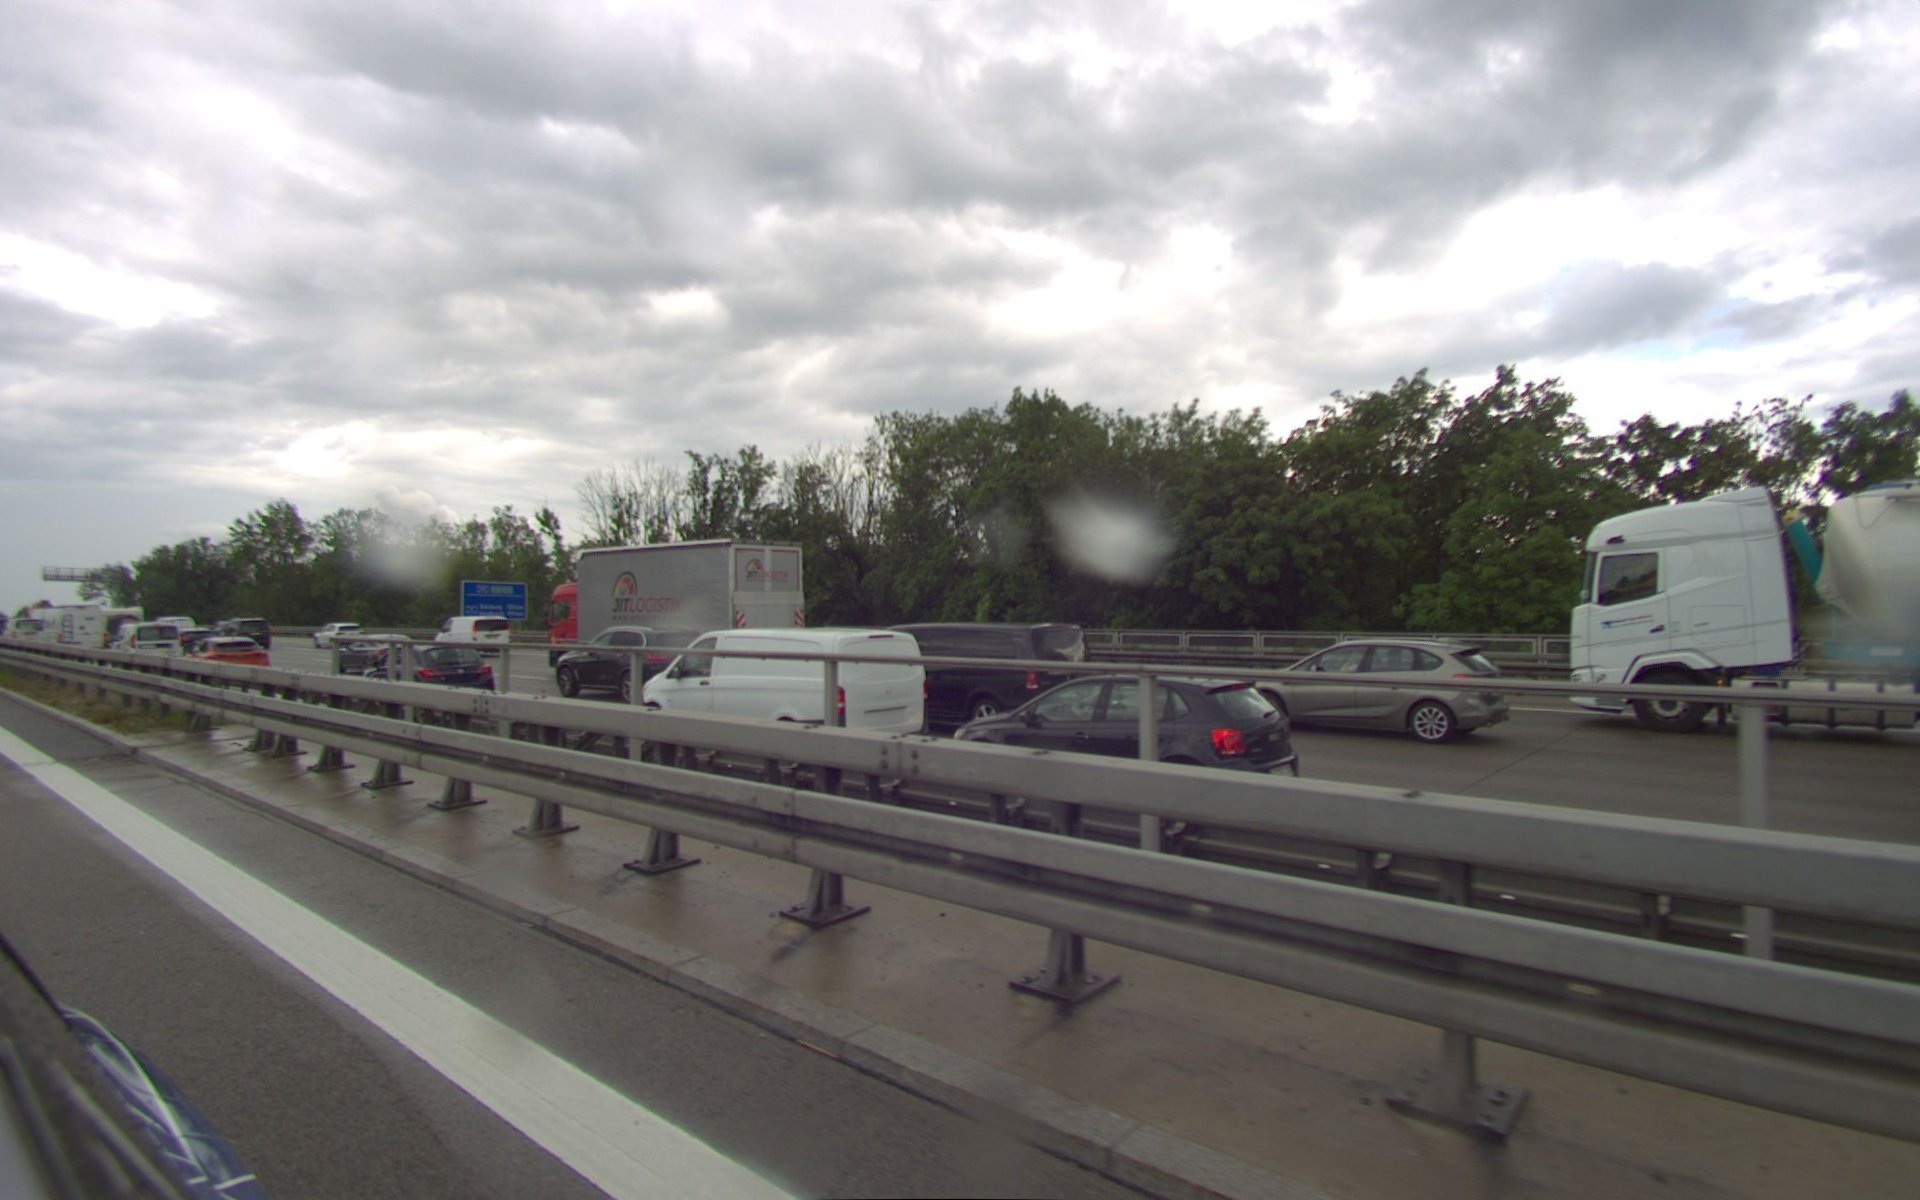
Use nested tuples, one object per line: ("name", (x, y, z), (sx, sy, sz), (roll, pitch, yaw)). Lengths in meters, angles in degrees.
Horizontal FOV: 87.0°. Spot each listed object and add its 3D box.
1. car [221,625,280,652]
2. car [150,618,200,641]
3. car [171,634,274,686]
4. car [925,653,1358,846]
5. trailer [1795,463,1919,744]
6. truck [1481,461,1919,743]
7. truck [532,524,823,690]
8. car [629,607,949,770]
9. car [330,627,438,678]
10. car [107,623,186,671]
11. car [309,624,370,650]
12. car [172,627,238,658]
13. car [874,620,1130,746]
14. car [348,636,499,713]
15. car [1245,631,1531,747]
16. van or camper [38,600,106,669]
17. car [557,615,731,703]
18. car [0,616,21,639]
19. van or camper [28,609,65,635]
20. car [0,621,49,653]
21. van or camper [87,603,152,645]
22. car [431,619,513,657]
("car", (-42.451, 2.286, 60.513), (3.998, 1.524, 1.999), (-1, -2, 41))
("car", (-54.459, 2.012, 70.167), (3.998, 1.524, 1.999), (-1, -2, 41))
("car", (-23.409, 1.852, 32.091), (4.032, 1.484, 1.735), (-1, -2, 40))
("car", (1.739, 1.375, 10.610), (4.223, 1.500, 1.662), (-1, -2, 40))
("trailer", (18.357, -0.011, 11.791), (13.213, 3.988, 2.436), (-1, -2, 41))
("truck", (12.745, 0.080, 16.716), (6.979, 3.995, 2.436), (-1, -2, 41))
("truck", (-9.014, 0.282, 31.128), (10.863, 4.325, 3.224), (-1, -2, 41))
("car", (-2.643, 1.132, 14.794), (5.034, 2.001, 1.835), (-1, -2, 40))
("car", (-19.964, 1.759, 34.988), (4.419, 1.628, 1.907), (-1, -2, 41))
("car", (-33.531, 1.876, 41.674), (4.032, 1.856, 1.803), (-1, -2, 40))
("car", (-36.994, 2.177, 60.287), (3.998, 1.524, 1.999), (-1, -2, 41))
("car", (-39.749, 2.188, 53.270), (3.998, 1.524, 1.999), (-1, -2, 41))
("car", (0.612, 1.260, 16.880), (4.112, 1.854, 1.688), (-1, -2, 40))
("car", (-11.997, 1.583, 22.522), (3.998, 1.517, 1.652), (-1, -2, 41))
("car", (6.885, 1.342, 16.521), (3.998, 1.628, 1.602), (-1, -2, 41))
("van or camper", (-45.800, 1.736, 52.159), (4.366, 3.427, 1.981), (-1, -2, 40))
("car", (-7.541, 1.310, 23.937), (4.646, 1.871, 1.776), (-1, -2, 41))
("car", (-67.943, 1.963, 71.628), (3.998, 1.586, 1.714), (-1, -2, 41))
("van or camper", (-73.414, 1.780, 81.342), (3.998, 2.030, 1.714), (-1, -2, 41))
("car", (-59.982, 2.323, 64.820), (3.998, 1.982, 1.973), (-1, -2, 41))
("van or camper", (-54.586, 1.557, 65.701), (5.418, 2.597, 2.423), (-1, -2, 41))
("car", (-23.114, 1.766, 47.867), (4.329, 1.714, 1.999), (-1, -2, 41))
